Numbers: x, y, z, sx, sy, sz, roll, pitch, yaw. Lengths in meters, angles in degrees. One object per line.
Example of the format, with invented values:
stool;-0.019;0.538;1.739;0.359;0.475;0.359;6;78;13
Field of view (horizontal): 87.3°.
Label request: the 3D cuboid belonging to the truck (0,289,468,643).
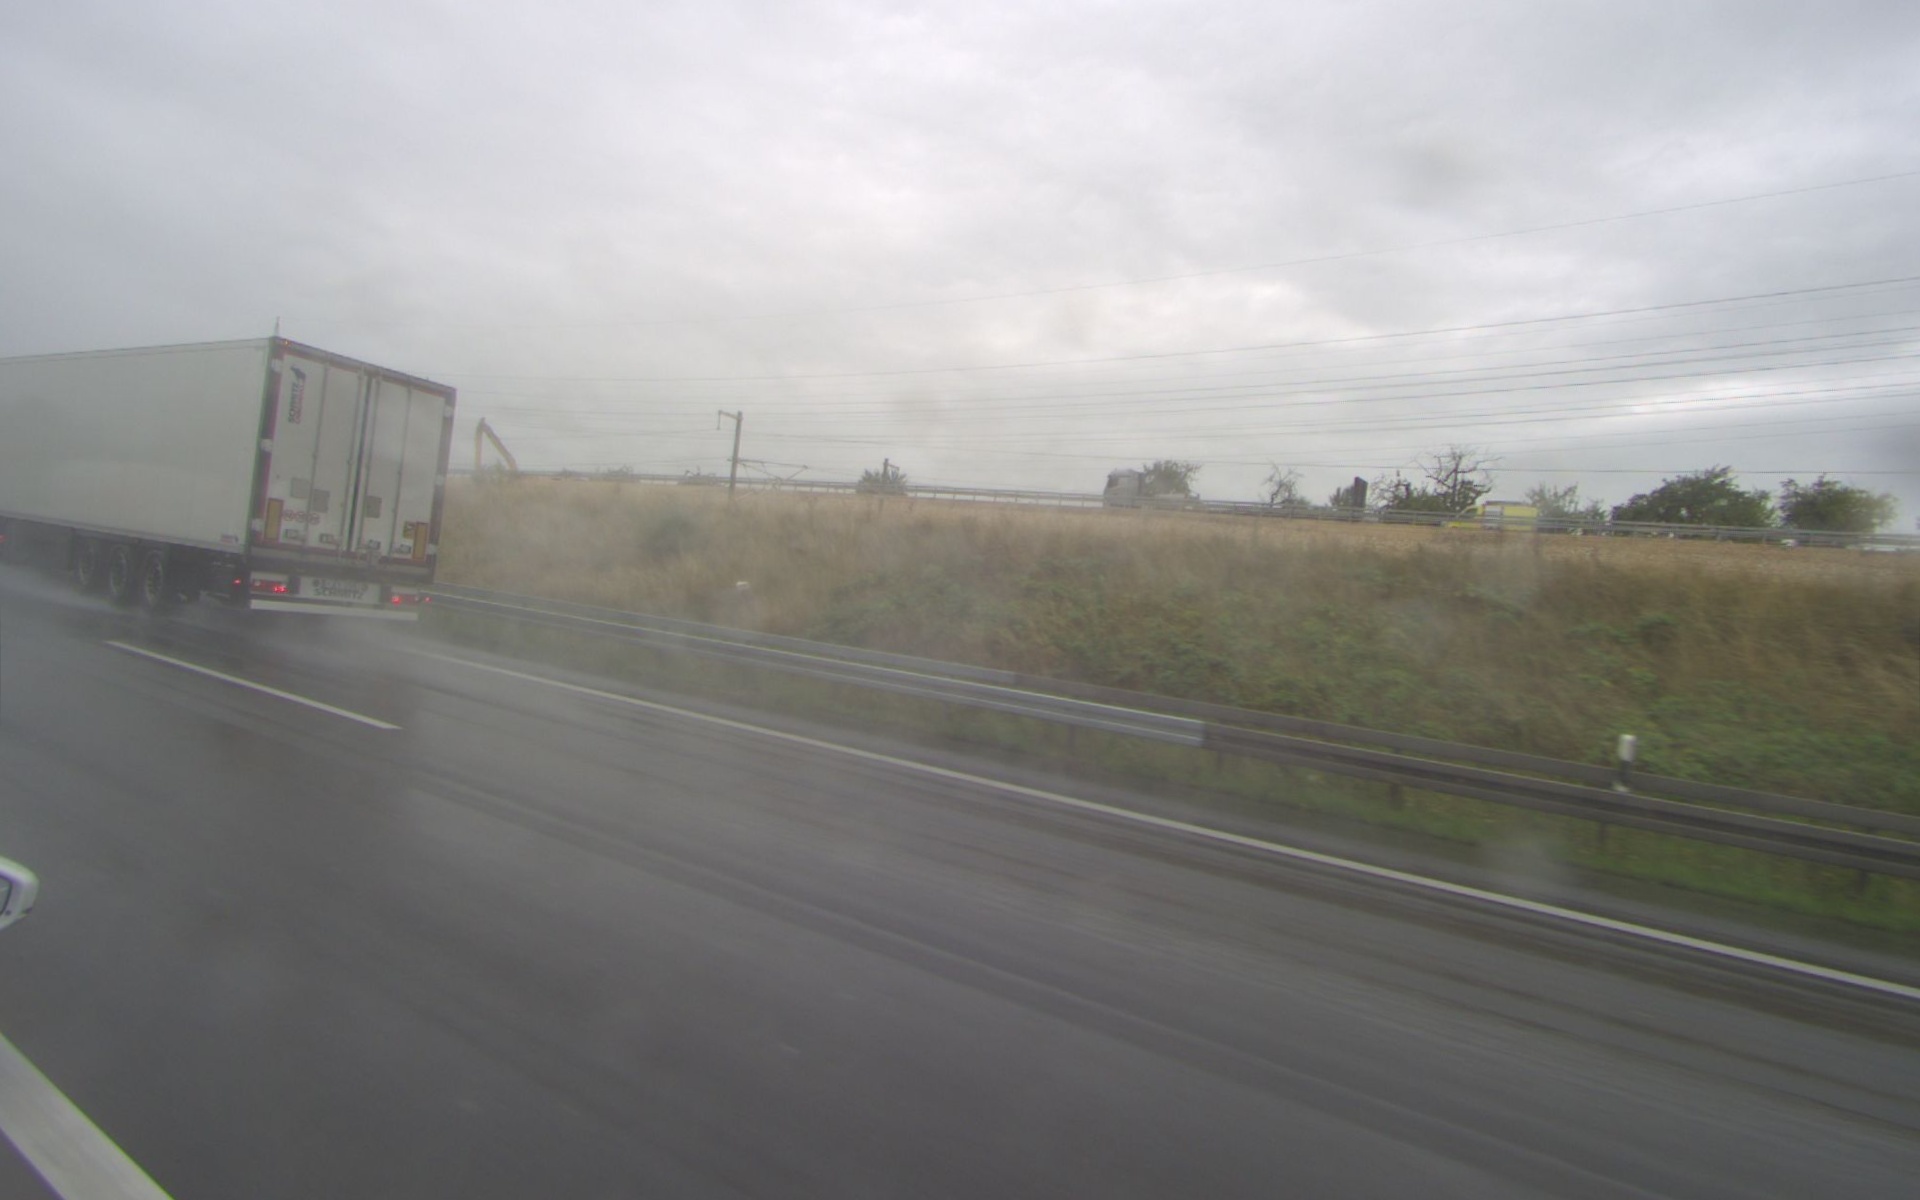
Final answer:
truck;-15.811;-2.606;19.057;16.077;4.642;3.045;7;-1;31
